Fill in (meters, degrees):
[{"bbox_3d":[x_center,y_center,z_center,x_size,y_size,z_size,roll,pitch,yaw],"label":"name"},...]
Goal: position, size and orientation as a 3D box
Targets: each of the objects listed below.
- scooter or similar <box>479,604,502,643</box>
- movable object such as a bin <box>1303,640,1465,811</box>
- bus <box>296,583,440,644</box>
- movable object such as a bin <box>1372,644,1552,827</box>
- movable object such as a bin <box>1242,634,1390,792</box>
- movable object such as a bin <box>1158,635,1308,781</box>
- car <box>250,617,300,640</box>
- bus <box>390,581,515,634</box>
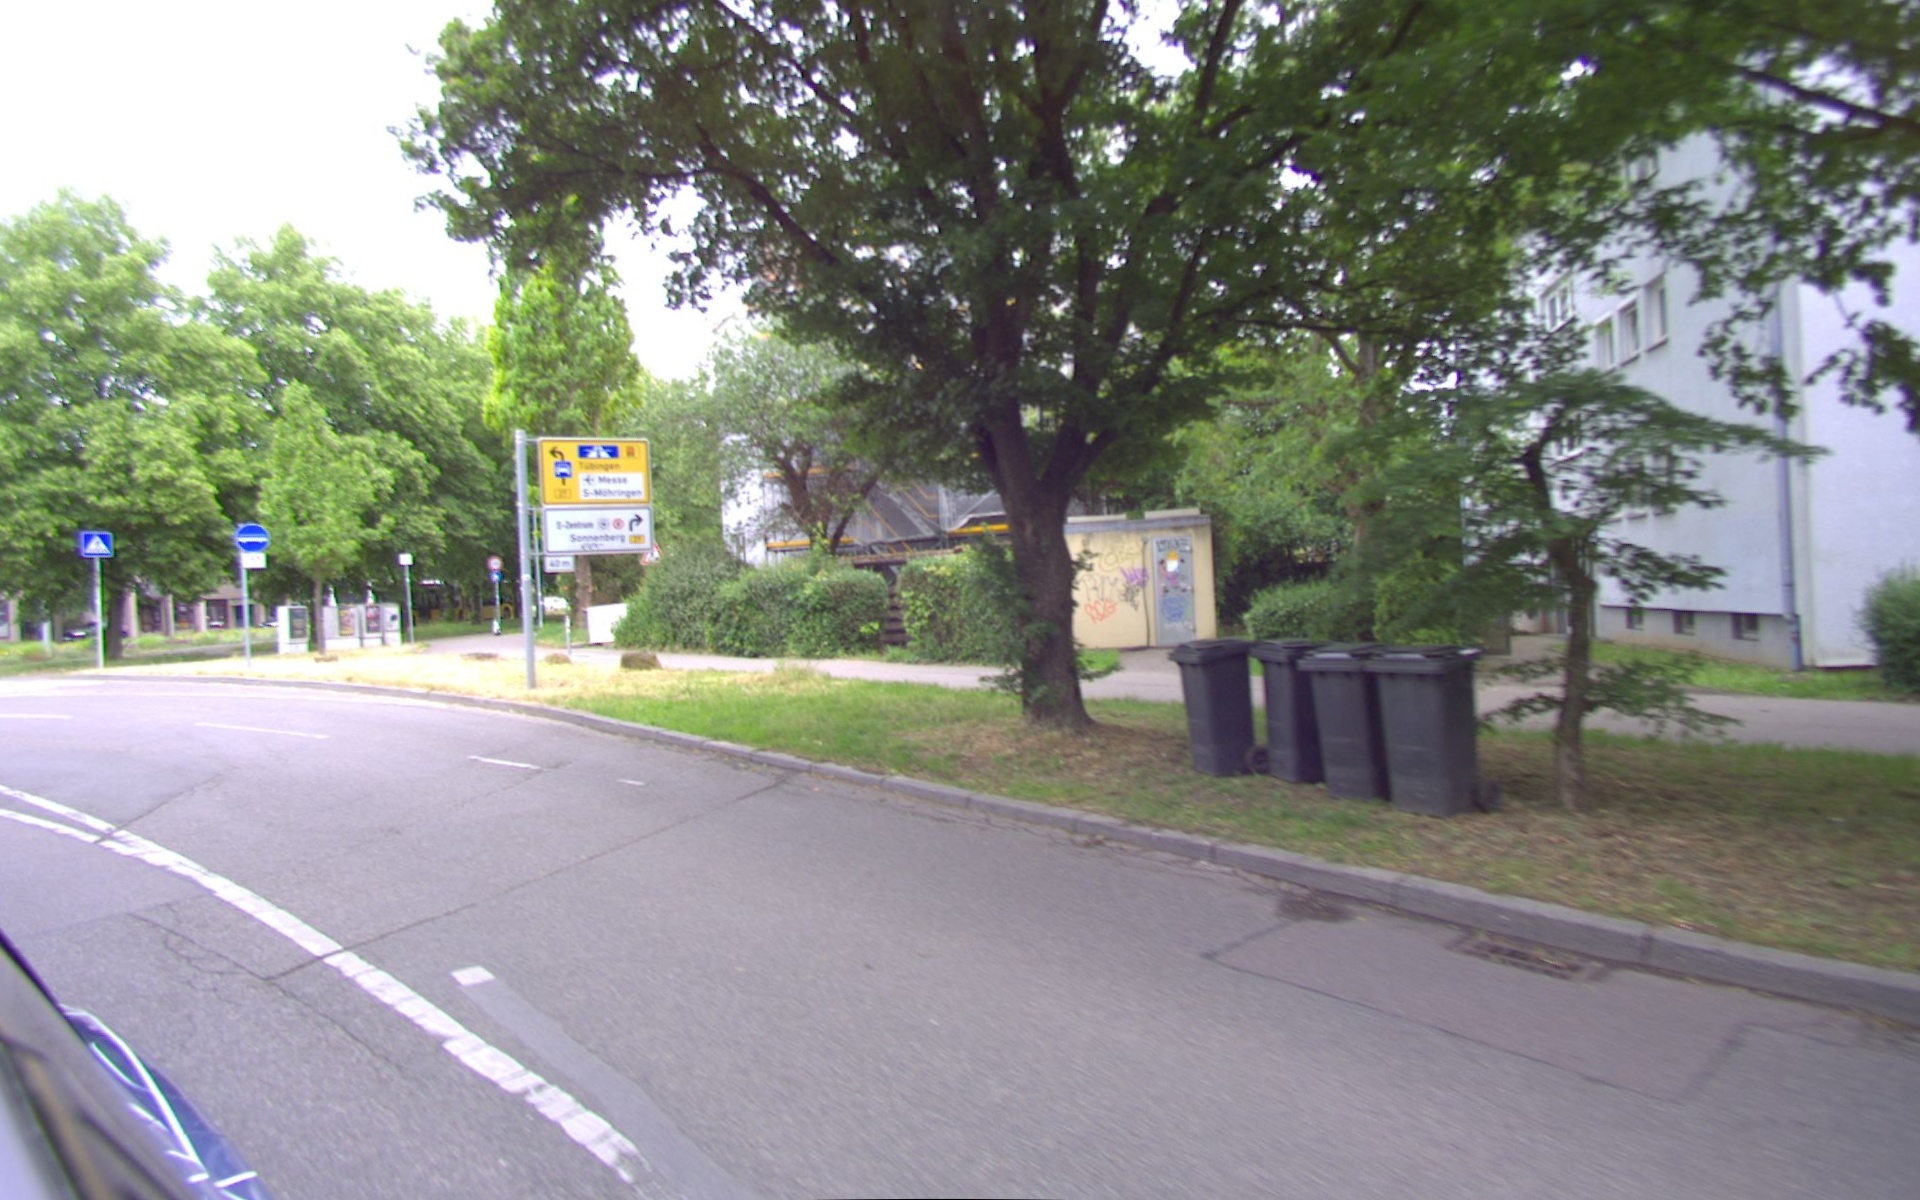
[{"bbox_3d":[-18.569,0.928,40.013,0.546,1.456,1.597,-6,2,-31],"label":"scooter or similar"},{"bbox_3d":[2.491,0.712,5.977,0.590,0.872,0.580,-5,2,-20],"label":"movable object such as a bin"},{"bbox_3d":[-34.772,0.660,59.921,3.014,3.031,8.422,-5,1,3],"label":"bus"},{"bbox_3d":[2.723,0.705,5.514,0.590,0.851,0.580,-5,2,-20],"label":"movable object such as a bin"},{"bbox_3d":[2.295,0.703,6.560,0.610,0.885,0.595,-5,2,-20],"label":"movable object such as a bin"},{"bbox_3d":[1.888,0.722,7.051,0.718,0.869,0.624,-5,2,-20],"label":"movable object such as a bin"},{"bbox_3d":[-64.430,2.638,95.239,1.971,1.829,4.002,-5,2,-2],"label":"car"},{"bbox_3d":[-34.299,0.398,68.960,3.014,3.031,9.688,-5,1,3],"label":"bus"}]
